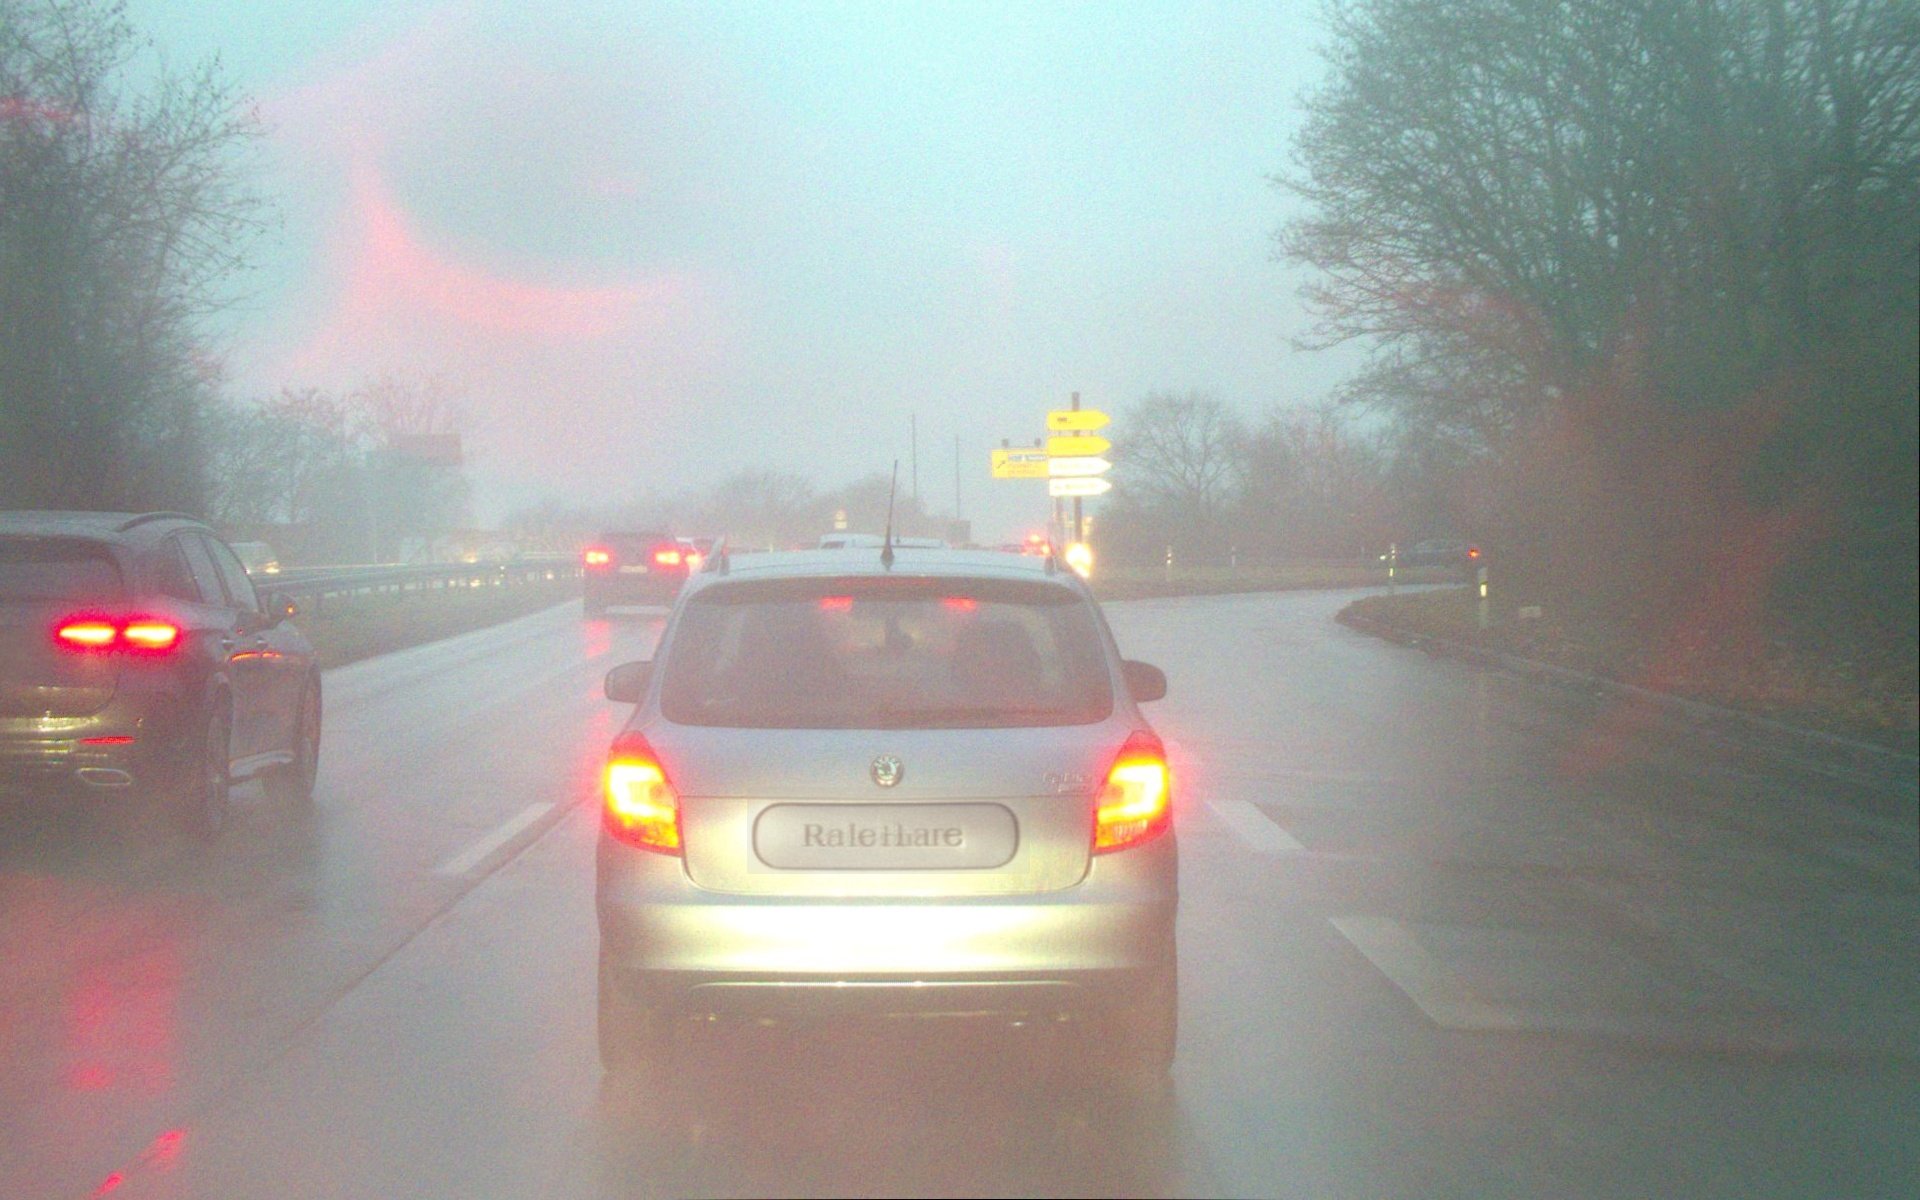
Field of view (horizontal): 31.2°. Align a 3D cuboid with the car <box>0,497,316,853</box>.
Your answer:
[{"bbox_3d":[-4.668,0.297,17.701,1.993,1.596,4.309,1,1,-2],"label":"car"}]

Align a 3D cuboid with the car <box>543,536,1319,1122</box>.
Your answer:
[{"bbox_3d":[-0.080,0.578,10.955,1.993,1.495,4.138,-1,0,0],"label":"car"}]

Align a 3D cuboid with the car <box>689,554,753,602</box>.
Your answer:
[{"bbox_3d":[-7.731,-0.727,111.596,1.789,1.478,4.000,-1,1,0],"label":"car"}]

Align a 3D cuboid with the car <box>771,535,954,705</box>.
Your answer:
[{"bbox_3d":[-1.015,0.173,37.857,1.897,1.761,4.309,0,1,0],"label":"car"}]

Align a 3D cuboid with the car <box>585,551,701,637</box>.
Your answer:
[{"bbox_3d":[-5.834,-0.131,63.650,1.789,1.540,4.000,0,1,0],"label":"car"}]
